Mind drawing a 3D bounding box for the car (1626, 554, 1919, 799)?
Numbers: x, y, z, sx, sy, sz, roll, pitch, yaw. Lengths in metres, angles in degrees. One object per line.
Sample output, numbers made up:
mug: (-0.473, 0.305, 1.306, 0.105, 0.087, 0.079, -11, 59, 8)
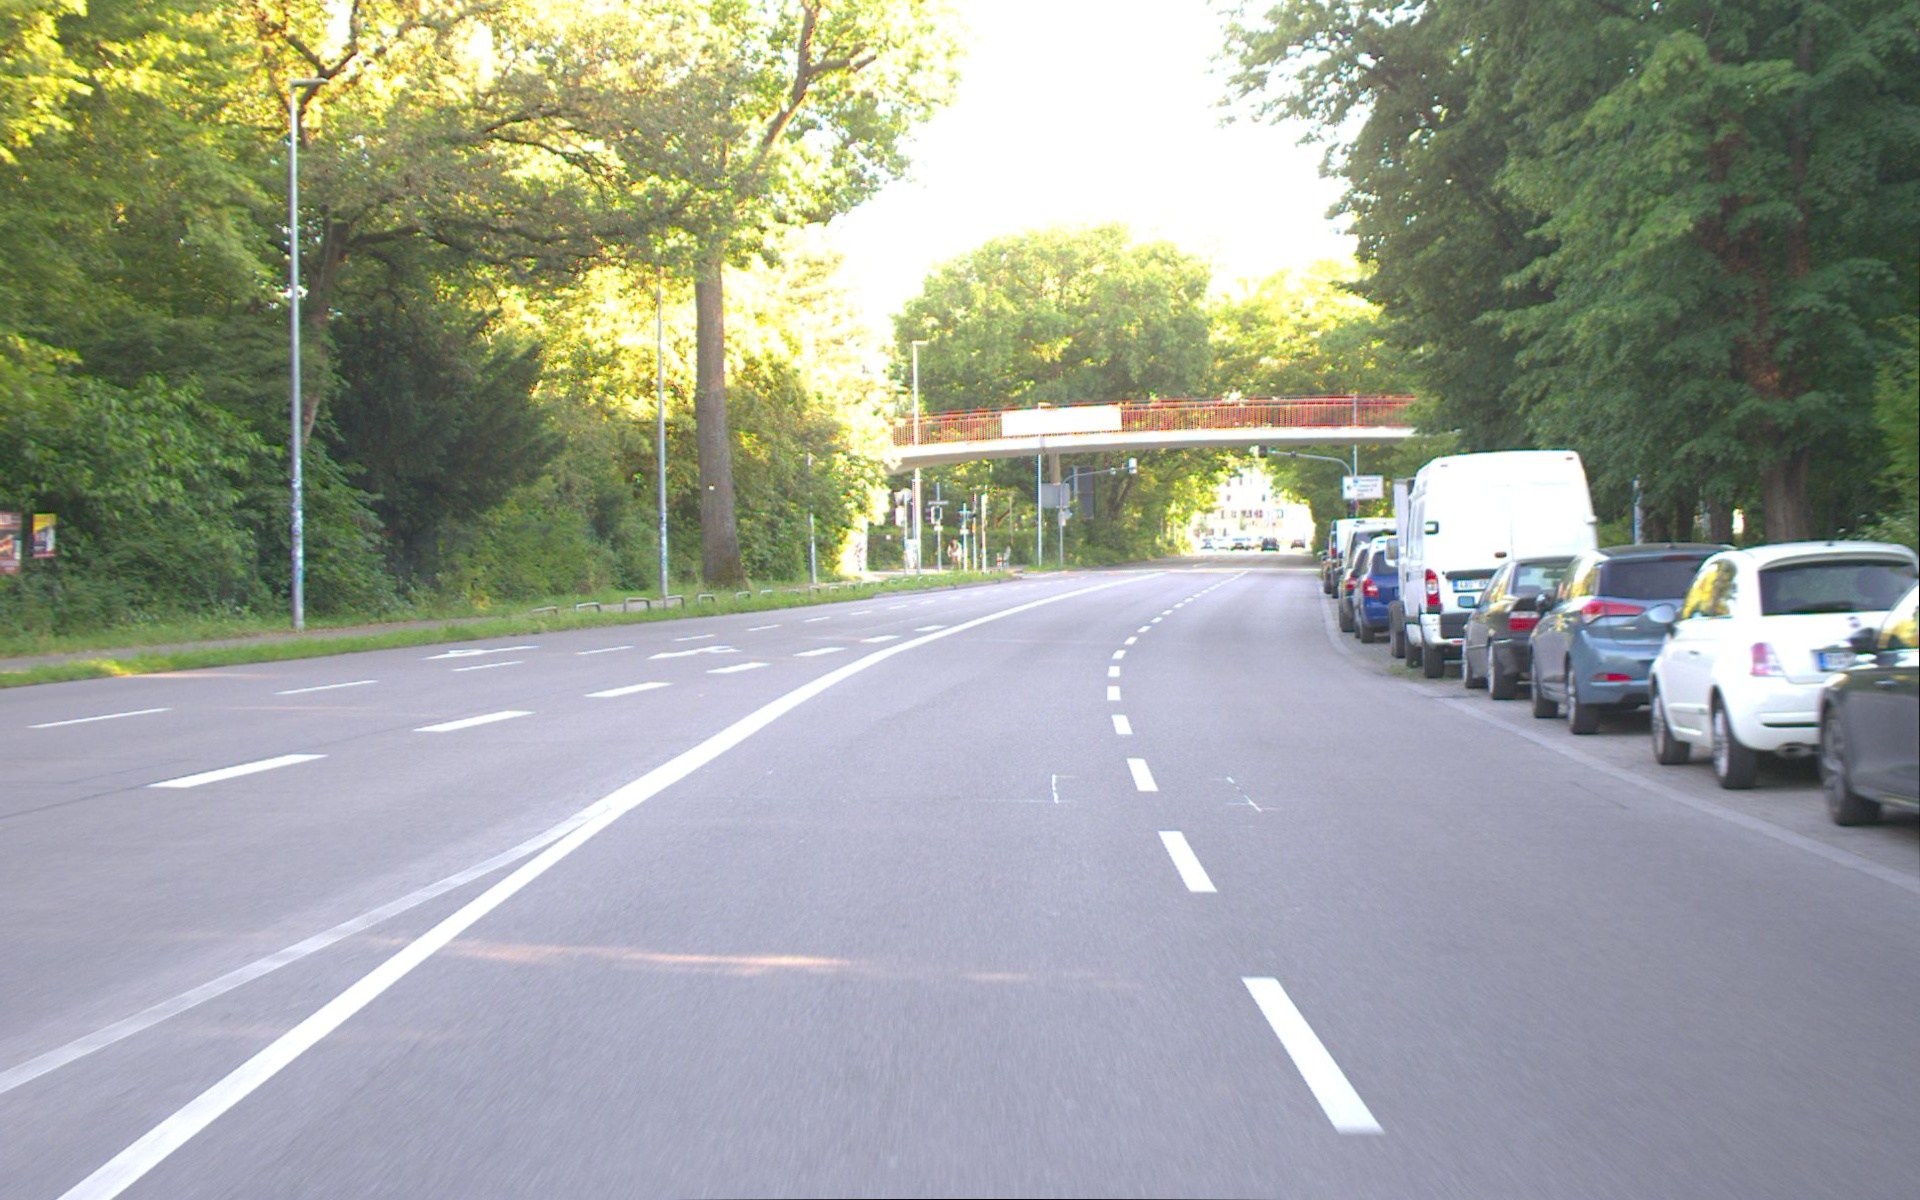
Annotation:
car: (5.509, 0.446, 22.537, 1.677, 1.459, 3.689, -1, 0, 2)

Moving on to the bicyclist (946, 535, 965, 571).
bicyclist: (-0.197, -2.079, 151.647, 0.712, 1.553, 1.142, 1, 0, 6)

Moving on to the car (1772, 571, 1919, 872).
car: (5.398, 0.556, 17.063, 1.718, 1.407, 4.906, -1, 0, 2)

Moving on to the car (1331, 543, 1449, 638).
car: (7.316, -0.173, 58.851, 1.759, 1.530, 4.988, -1, 0, 4)

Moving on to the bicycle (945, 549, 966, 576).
bicycle: (-0.211, -1.642, 151.648, 0.712, 1.143, 1.993, 1, 0, 6)

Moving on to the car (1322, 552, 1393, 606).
car: (10.898, -0.584, 94.439, 1.869, 1.401, 4.368, -1, 0, 6)

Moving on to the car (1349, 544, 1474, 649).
car: (6.932, -0.069, 53.094, 1.678, 1.530, 4.352, -1, 0, 4)

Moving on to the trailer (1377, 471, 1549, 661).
trailer: (6.794, -0.456, 46.897, 1.904, 2.415, 5.126, -1, 0, 4)

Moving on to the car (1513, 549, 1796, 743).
car: (5.641, 0.336, 28.341, 1.677, 1.459, 4.066, -1, 0, 3)

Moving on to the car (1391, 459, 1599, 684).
car: (6.164, -0.332, 40.142, 1.904, 2.415, 5.575, -1, 0, 4)

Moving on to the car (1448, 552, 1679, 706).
car: (5.906, 0.250, 34.081, 1.677, 1.396, 4.650, -1, 0, 3)

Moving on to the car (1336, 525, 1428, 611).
car: (9.213, -0.688, 75.268, 1.759, 1.798, 4.737, -1, 0, 4)

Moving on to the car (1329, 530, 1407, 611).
car: (10.395, -0.763, 87.862, 1.869, 1.974, 5.473, -1, 0, 6)
